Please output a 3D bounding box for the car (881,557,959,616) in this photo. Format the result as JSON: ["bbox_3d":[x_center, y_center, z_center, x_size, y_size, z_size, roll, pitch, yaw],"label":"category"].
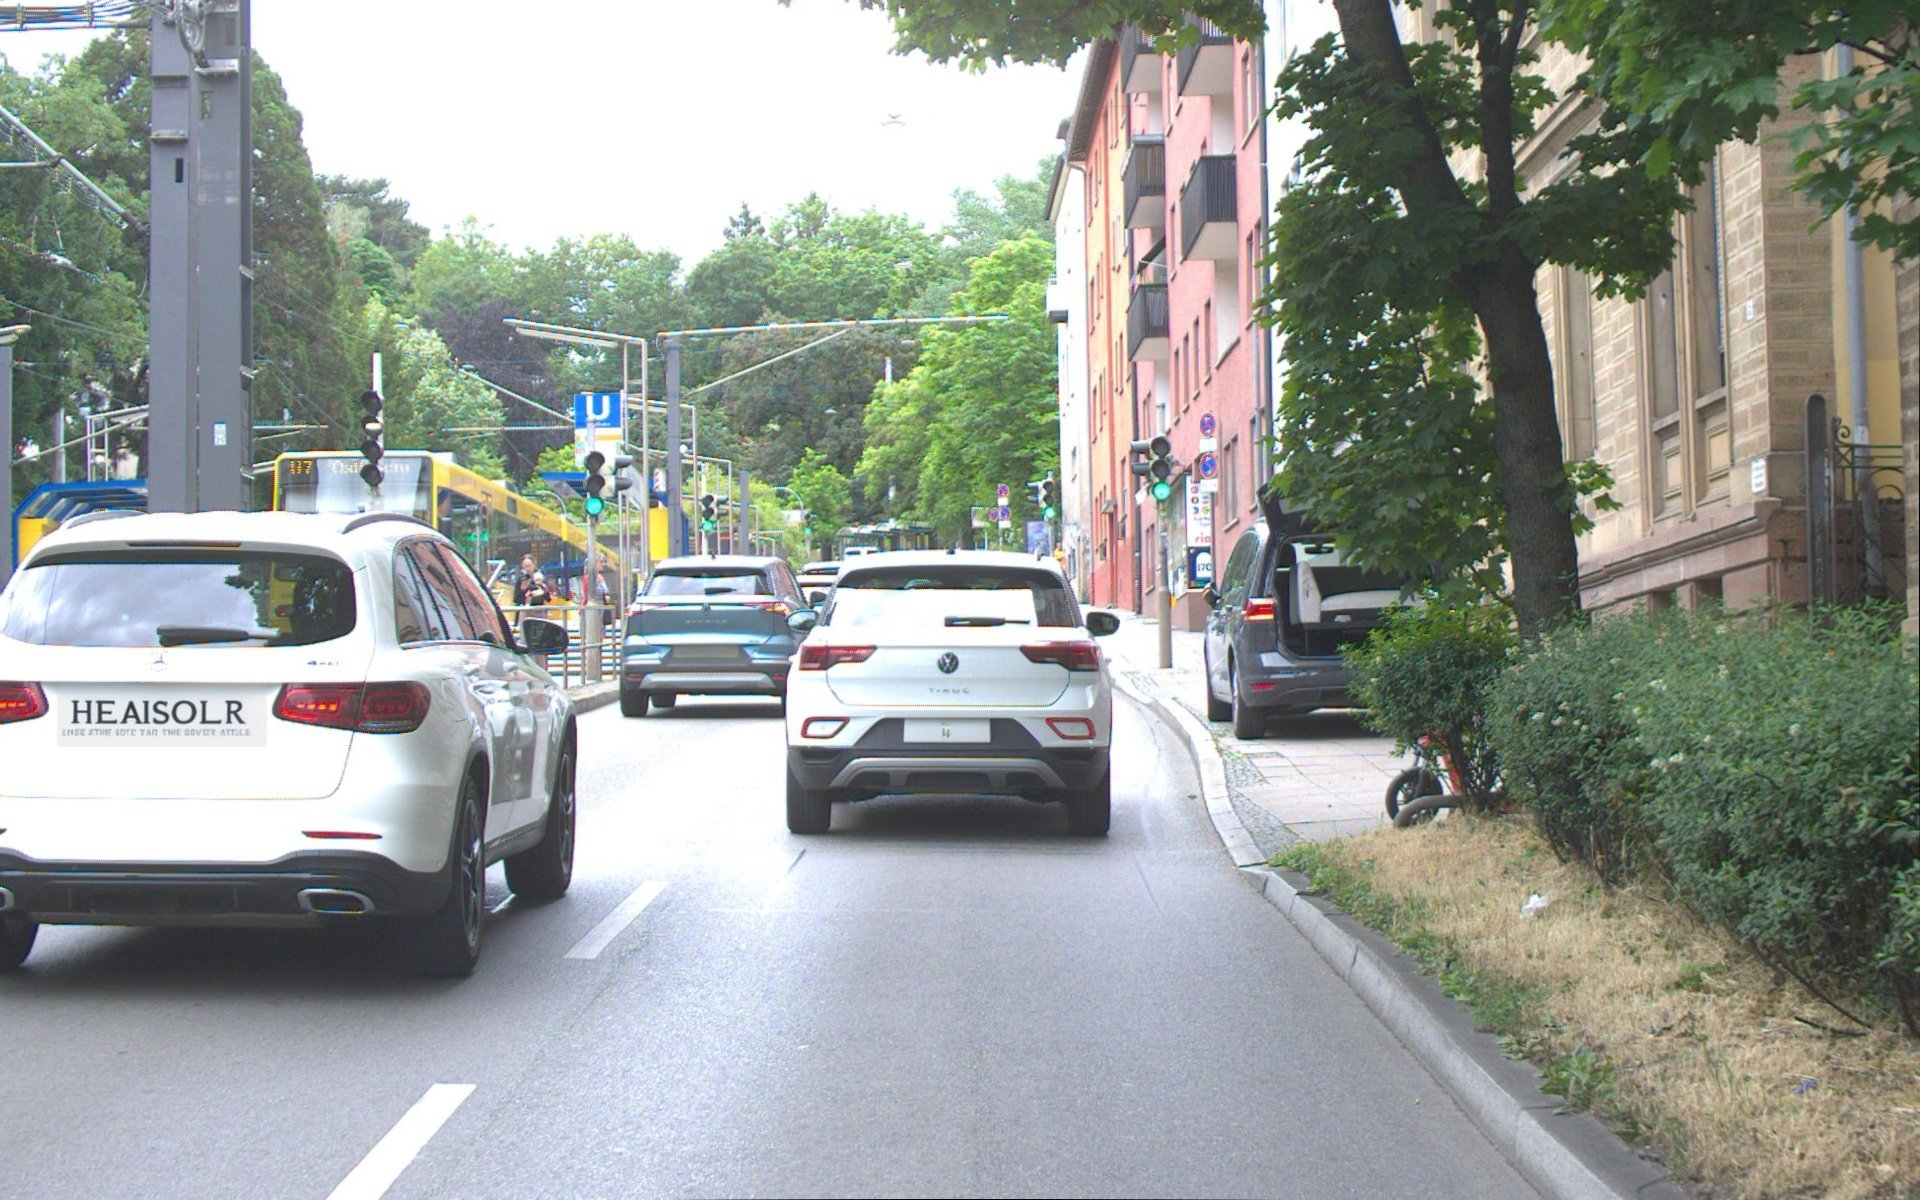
[{"bbox_3d":[-1.079,-0.383,93.403,2.068,1.541,4.194,1,1,0],"label":"car"}]

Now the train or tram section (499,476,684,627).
[{"bbox_3d":[-8.791,-1.184,83.666,2.996,3.337,13.439,-1,1,0],"label":"train or tram section"}]

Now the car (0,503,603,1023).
[{"bbox_3d":[-2.595,0.491,13.409,1.835,1.661,4.671,1,1,1],"label":"car"}]

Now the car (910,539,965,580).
[{"bbox_3d":[-0.877,-1.561,132.324,2.068,1.541,4.194,1,1,0],"label":"car"}]

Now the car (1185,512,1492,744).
[{"bbox_3d":[2.859,0.173,26.809,1.835,1.596,4.194,-2,1,0],"label":"car"}]

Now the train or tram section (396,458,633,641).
[{"bbox_3d":[-8.862,-1.022,70.154,2.996,3.337,13.530,-1,1,0],"label":"train or tram section"}]

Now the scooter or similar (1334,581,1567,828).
[{"bbox_3d":[2.302,0.487,16.180,1.037,1.115,0.331,-2,1,6],"label":"scooter or similar"}]

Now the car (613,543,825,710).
[{"bbox_3d":[-2.340,0.220,34.268,1.835,1.541,4.194,1,1,0],"label":"car"}]

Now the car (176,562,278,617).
[{"bbox_3d":[-19.507,-0.298,91.664,1.830,1.398,4.000,-1,1,0],"label":"car"}]

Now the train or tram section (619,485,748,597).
[{"bbox_3d":[-8.762,-1.882,110.616,2.996,3.337,13.439,-1,1,0],"label":"train or tram section"}]

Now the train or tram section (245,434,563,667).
[{"bbox_3d":[-8.843,-0.808,56.603,2.996,3.337,13.439,-1,1,0],"label":"train or tram section"}]

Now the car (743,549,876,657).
[{"bbox_3d":[-2.233,0.017,51.973,1.835,1.541,4.194,1,1,0],"label":"car"}]

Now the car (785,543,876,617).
[{"bbox_3d":[-2.804,-0.451,75.082,1.835,1.541,4.194,1,1,0],"label":"car"}]

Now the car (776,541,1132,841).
[{"bbox_3d":[-0.094,0.443,19.952,1.835,1.541,4.194,1,1,-2],"label":"car"}]

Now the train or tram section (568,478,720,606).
[{"bbox_3d":[-8.776,-1.617,97.174,2.996,3.337,13.439,-1,1,0],"label":"train or tram section"}]
